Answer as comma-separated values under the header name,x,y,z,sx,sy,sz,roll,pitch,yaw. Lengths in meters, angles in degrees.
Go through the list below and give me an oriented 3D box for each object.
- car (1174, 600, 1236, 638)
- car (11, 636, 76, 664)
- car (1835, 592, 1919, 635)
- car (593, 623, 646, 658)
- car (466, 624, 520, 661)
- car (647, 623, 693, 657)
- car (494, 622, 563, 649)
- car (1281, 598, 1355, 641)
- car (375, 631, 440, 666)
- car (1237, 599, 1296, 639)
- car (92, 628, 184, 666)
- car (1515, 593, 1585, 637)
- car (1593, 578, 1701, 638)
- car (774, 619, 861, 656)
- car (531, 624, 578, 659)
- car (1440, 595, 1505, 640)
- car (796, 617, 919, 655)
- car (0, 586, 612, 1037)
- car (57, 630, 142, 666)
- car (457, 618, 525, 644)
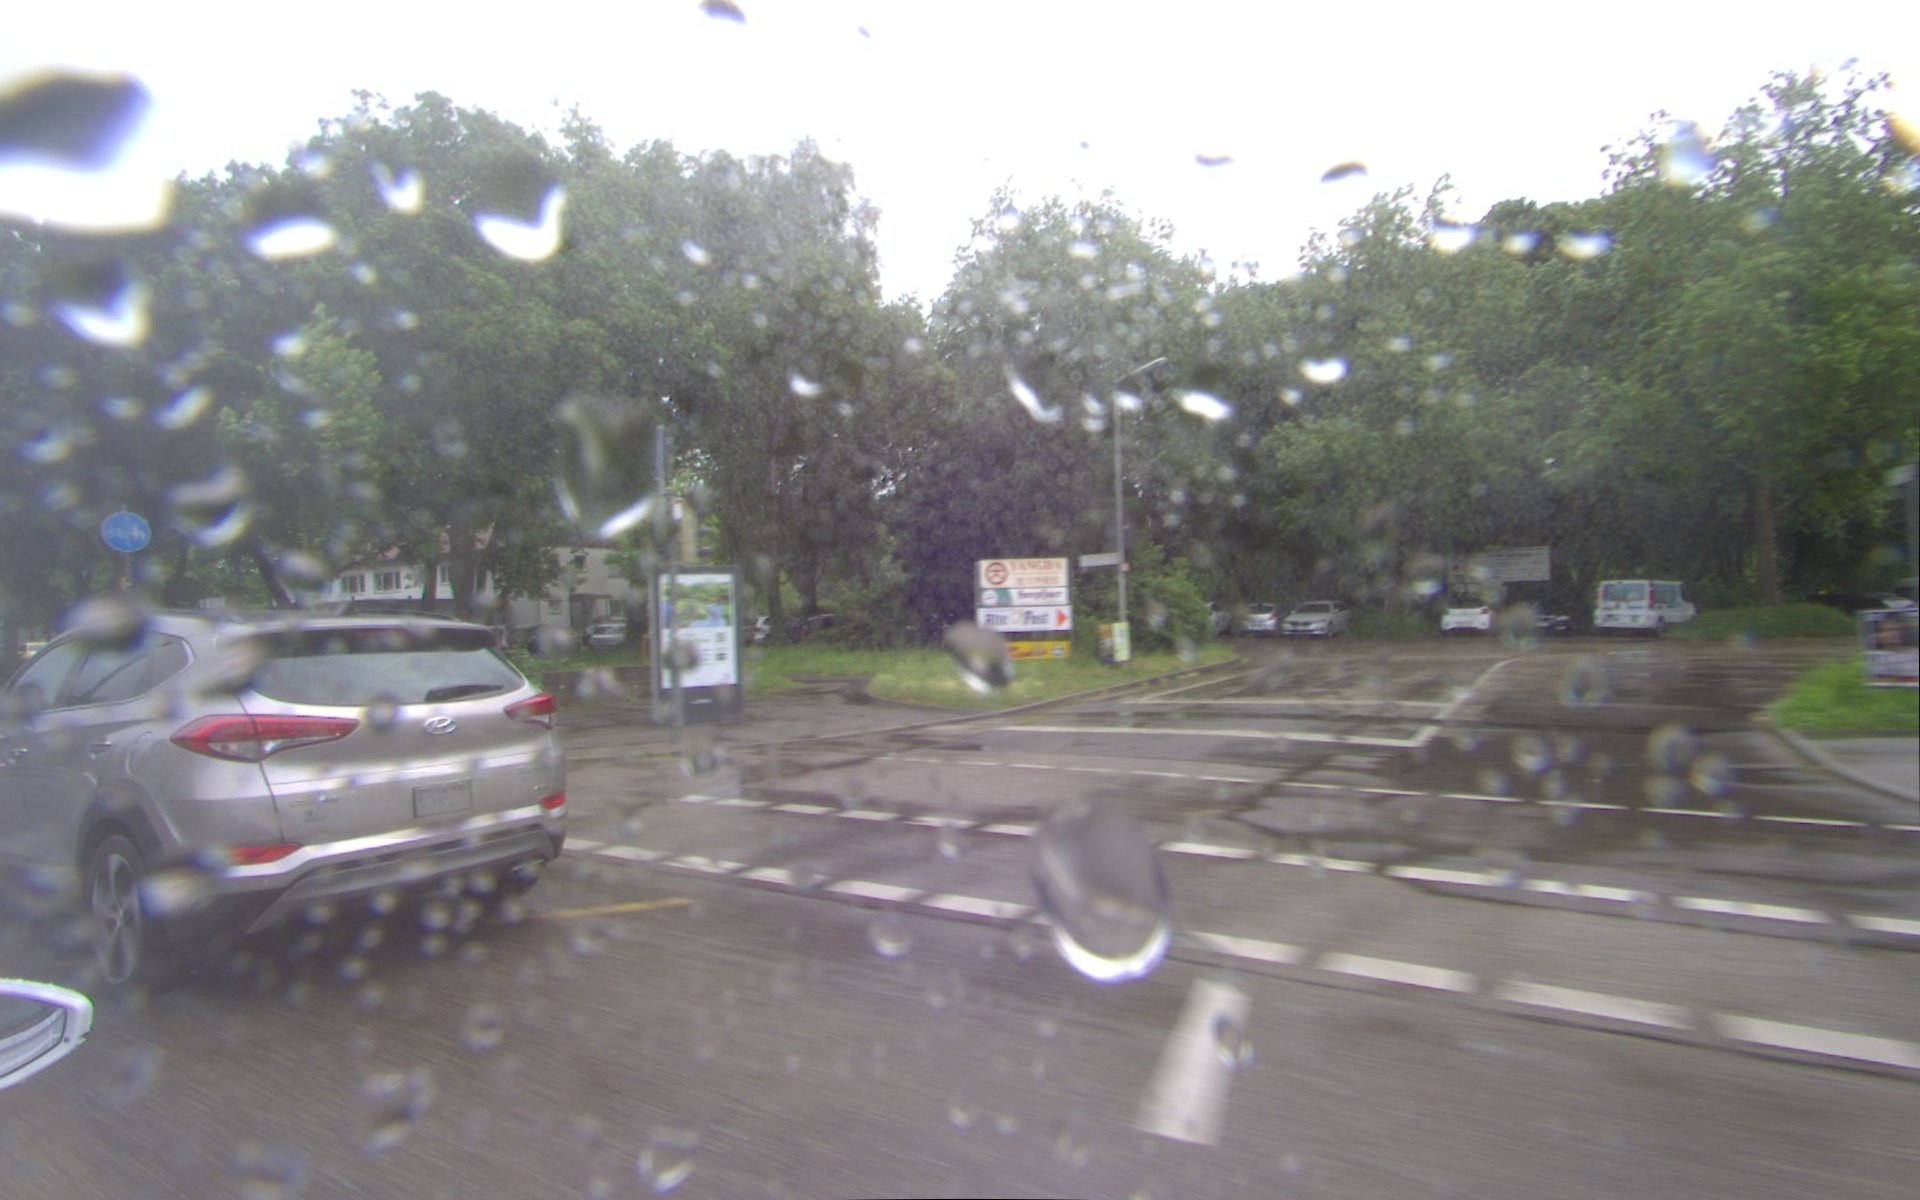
name,x,y,z,sx,sy,sz,roll,pitch,yaw
car,11.153,0.921,45.408,1.894,1.603,4.589,-2,-3,24
car,-51.685,2.848,56.448,4.014,1.504,1.635,-2,-3,31
car,38.208,0.547,40.655,3.958,1.672,1.688,-3,-3,43
car,-14.993,1.814,44.208,1.638,1.467,3.752,-1,-3,-10
car,-19.938,1.830,42.868,1.641,1.467,3.746,0,-3,-18
car,-12.875,1.800,44.623,1.573,1.467,3.752,-1,-3,-10
car,-24.532,2.024,56.885,3.942,1.402,1.582,-2,-3,30
car,14.900,0.870,41.498,1.899,1.651,4.578,-2,-3,32
car,-23.051,2.026,41.882,1.497,1.368,3.387,0,-3,-13
car,13.501,0.894,44.013,1.894,1.603,4.589,-2,-3,24
car,-40.588,2.319,49.422,4.808,1.740,1.990,-2,0,31
car,22.012,0.604,37.302,1.901,1.507,4.170,-3,-3,35
car,24.625,0.340,35.855,4.144,1.989,1.913,1,-3,-37
car,-6.031,1.603,42.770,1.647,1.467,3.702,-2,-3,34
car,-17.663,1.834,43.717,1.641,1.467,3.746,0,-3,-18
car,19.875,0.708,38.764,1.698,1.617,3.648,-2,-3,35
car,-4.179,1.520,41.655,2.139,1.467,5.386,-3,-3,34
car,-4.057,0.864,5.548,4.137,1.631,1.881,-2,-2,33
car,-45.139,2.528,52.500,4.574,1.740,1.990,-2,0,31
car,-25.547,1.685,54.516,3.647,1.332,1.570,-2,-2,30
